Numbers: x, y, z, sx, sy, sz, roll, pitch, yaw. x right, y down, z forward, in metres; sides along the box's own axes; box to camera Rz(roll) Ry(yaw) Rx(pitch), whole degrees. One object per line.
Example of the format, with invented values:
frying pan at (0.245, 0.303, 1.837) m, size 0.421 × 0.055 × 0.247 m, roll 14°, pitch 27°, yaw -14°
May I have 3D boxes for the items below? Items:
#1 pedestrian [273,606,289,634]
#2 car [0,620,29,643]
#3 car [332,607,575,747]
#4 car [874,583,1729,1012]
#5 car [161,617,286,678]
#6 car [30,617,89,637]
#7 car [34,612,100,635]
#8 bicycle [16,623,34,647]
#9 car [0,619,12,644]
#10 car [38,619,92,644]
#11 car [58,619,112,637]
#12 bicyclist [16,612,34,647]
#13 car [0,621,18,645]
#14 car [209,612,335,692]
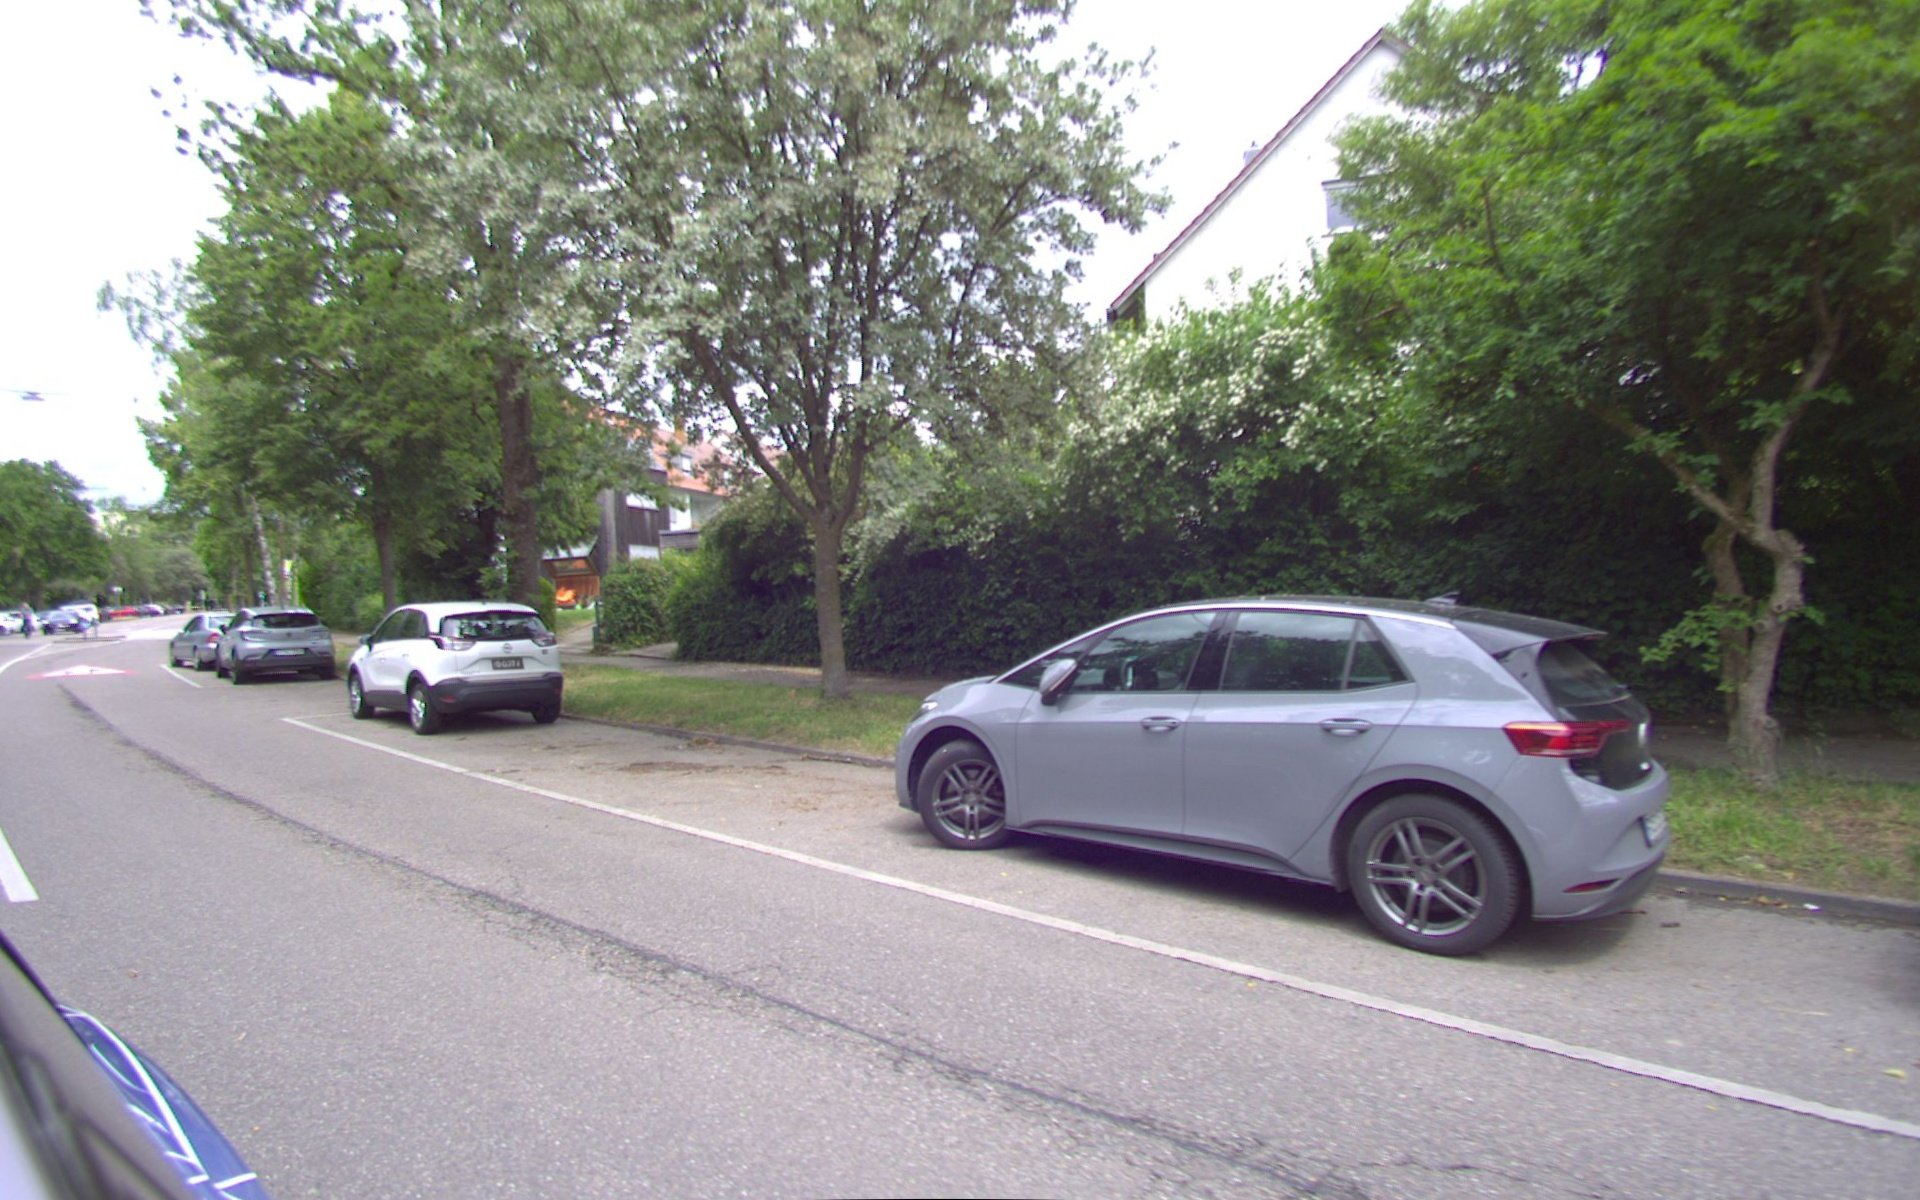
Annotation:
pedestrian at (-43.065, 1.249, 64.141) m, size 0.683 × 1.723 × 0.779 m, roll -3°, pitch 1°, yaw -42°
car at (-65.754, 2.203, 68.215) m, size 1.840 × 1.475 × 3.968 m, roll -2°, pitch 2°, yaw 25°
car at (-6.938, 0.918, 13.665) m, size 4.143 × 1.590 × 1.716 m, roll -1°, pitch -1°, yaw 45°
car at (1.640, 0.738, 5.770) m, size 4.226 × 1.549 × 1.846 m, roll -1°, pitch 0°, yaw 42°
car at (-19.111, 1.175, 26.181) m, size 4.471 × 1.427 × 1.717 m, roll -1°, pitch -1°, yaw 42°
car at (-80.874, 2.396, 90.900) m, size 1.716 × 1.449 × 3.804 m, roll -1°, pitch 2°, yaw 43°
car at (-82.569, 2.144, 93.602) m, size 1.853 × 1.771 × 4.176 m, roll -2°, pitch 2°, yaw 32°
bicycle at (-50.261, 1.848, 54.387) m, size 0.638 × 1.246 × 1.879 m, roll -2°, pitch 1°, yaw -43°
car at (-60.954, 2.051, 61.875) m, size 1.860 × 1.475 × 3.957 m, roll -2°, pitch 2°, yaw 32°
car at (-55.366, 1.903, 62.667) m, size 1.831 × 1.384 × 4.087 m, roll -3°, pitch 1°, yaw -32°
car at (-85.250, 2.734, 98.608) m, size 1.655 × 1.445 × 3.804 m, roll -1°, pitch 2°, yaw 43°
bicyclist at (-50.244, 1.578, 54.375) m, size 0.638 × 1.792 × 0.628 m, roll -1°, pitch 1°, yaw -44°
car at (-62.523, 2.192, 64.012) m, size 1.790 × 1.475 × 3.957 m, roll -2°, pitch 2°, yaw 32°
car at (-15.074, 1.071, 22.091) m, size 1.714 × 1.549 × 4.194 m, roll 0°, pitch -1°, yaw -42°
